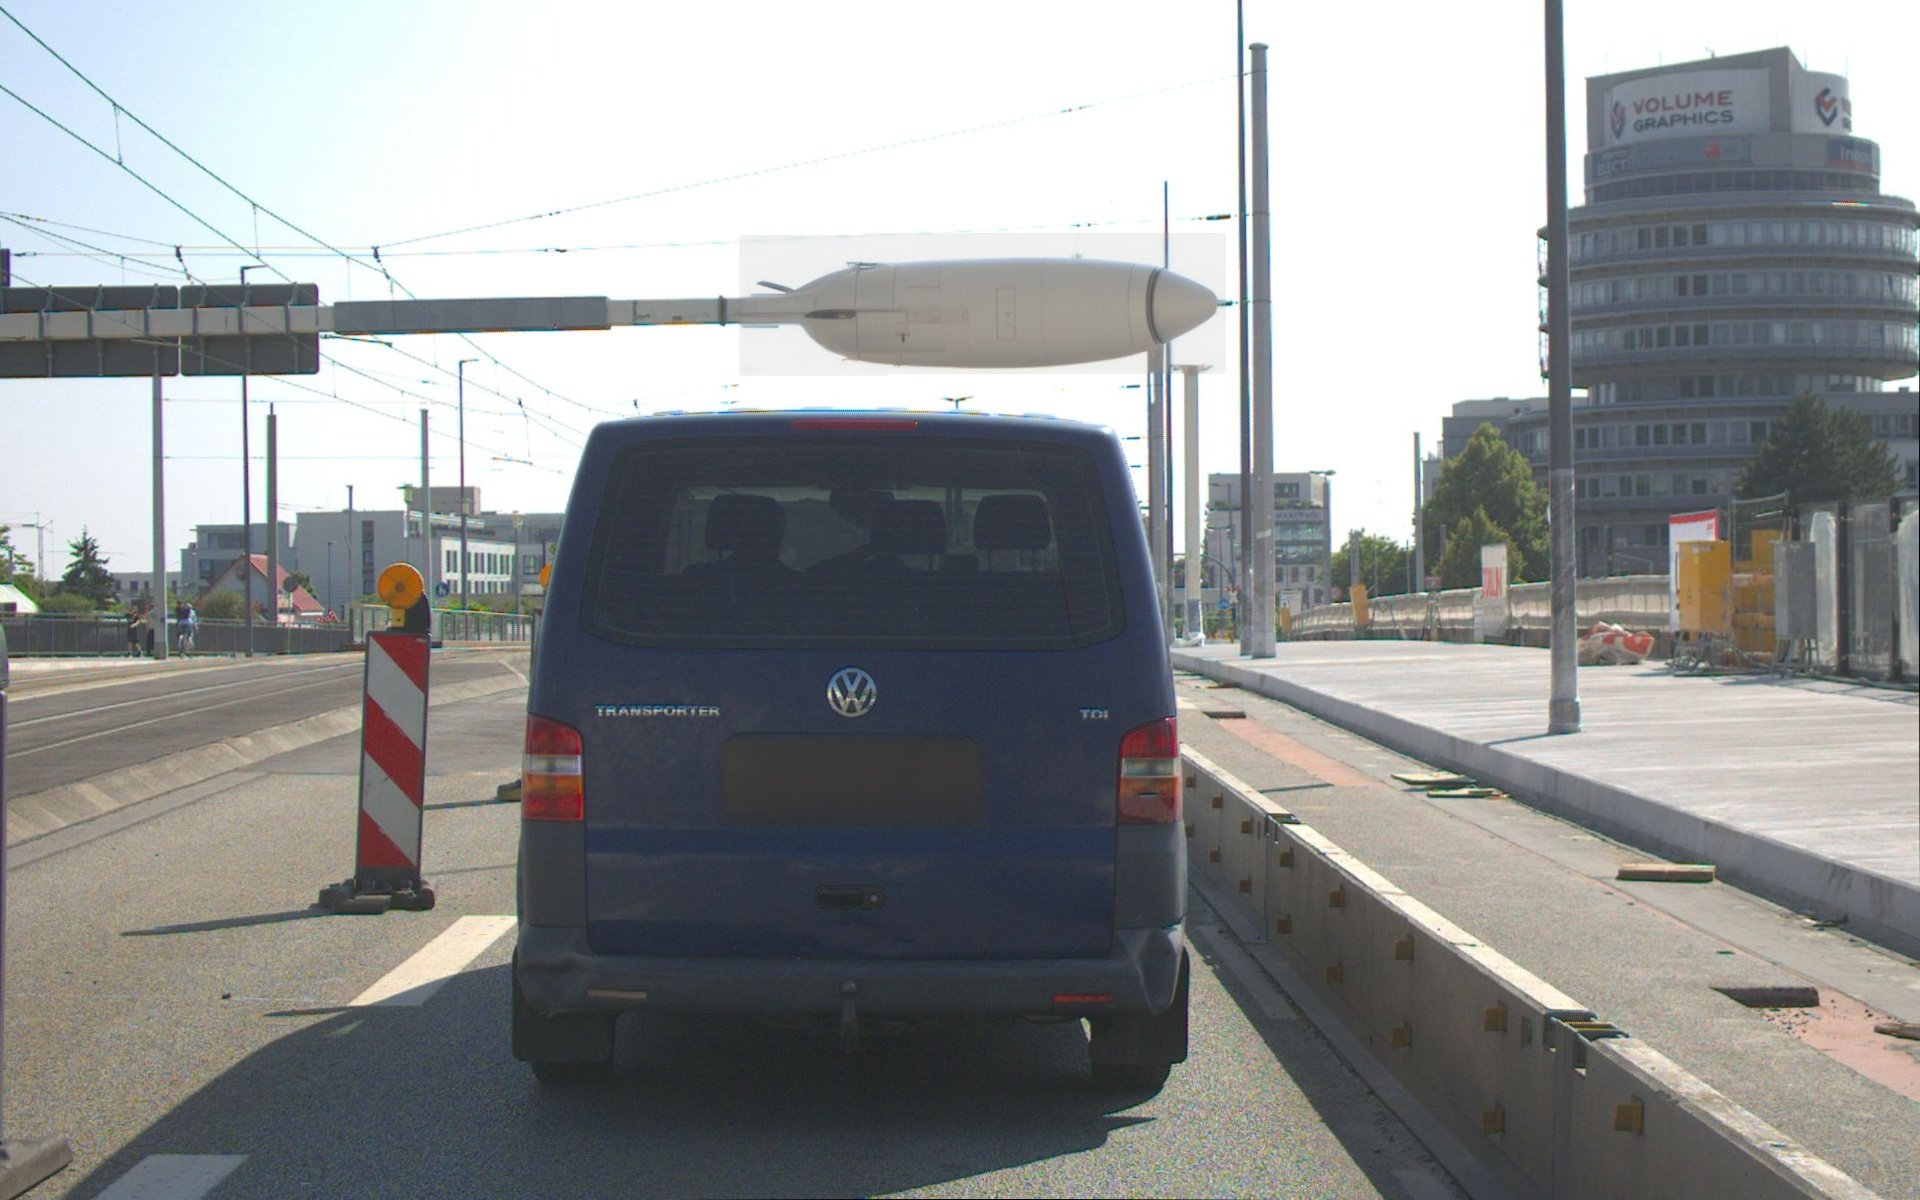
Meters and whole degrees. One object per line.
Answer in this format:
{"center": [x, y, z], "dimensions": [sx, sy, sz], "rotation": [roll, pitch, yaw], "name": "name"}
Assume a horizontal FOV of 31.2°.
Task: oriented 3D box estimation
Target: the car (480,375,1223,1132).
{"center": [-0.302, 0.397, 10.906], "dimensions": [1.888, 1.927, 4.000], "rotation": [1, 0, -1], "name": "car"}

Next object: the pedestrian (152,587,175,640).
{"center": [-25.211, 0.426, 108.872], "dimensions": [0.486, 1.681, 0.808], "rotation": [-1, 0, 3], "name": "pedestrian"}

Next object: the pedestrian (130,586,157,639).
{"center": [-25.792, 0.390, 108.583], "dimensions": [0.597, 1.681, 0.817], "rotation": [-1, 0, 3], "name": "pedestrian"}

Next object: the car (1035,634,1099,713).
{"center": [4.120, 2.814, 132.830], "dimensions": [2.339, 2.877, 5.970], "rotation": [1, 0, 1], "name": "car"}

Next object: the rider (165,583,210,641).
{"center": [-23.606, 0.351, 105.096], "dimensions": [0.763, 1.727, 2.952], "rotation": [0, 0, -1], "name": "rider"}
